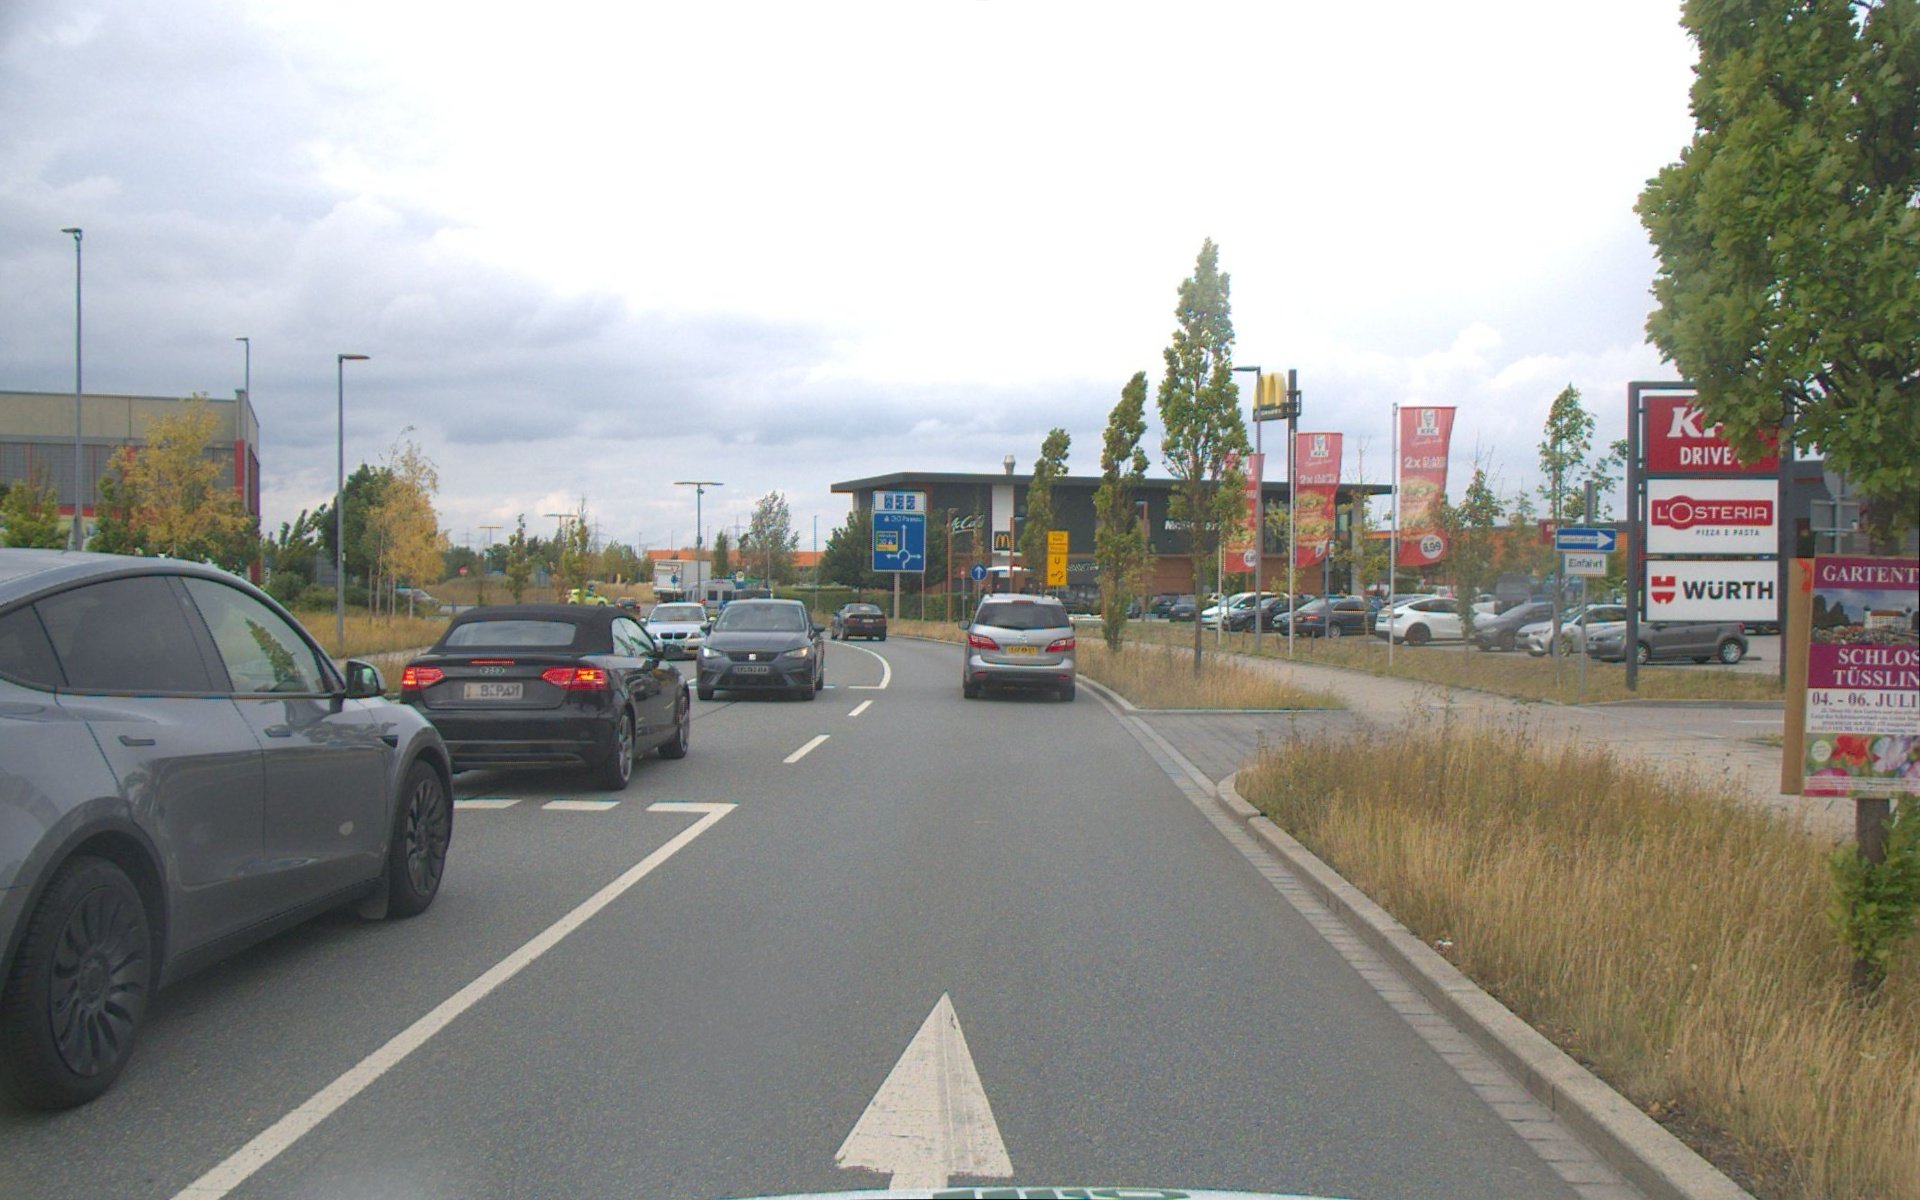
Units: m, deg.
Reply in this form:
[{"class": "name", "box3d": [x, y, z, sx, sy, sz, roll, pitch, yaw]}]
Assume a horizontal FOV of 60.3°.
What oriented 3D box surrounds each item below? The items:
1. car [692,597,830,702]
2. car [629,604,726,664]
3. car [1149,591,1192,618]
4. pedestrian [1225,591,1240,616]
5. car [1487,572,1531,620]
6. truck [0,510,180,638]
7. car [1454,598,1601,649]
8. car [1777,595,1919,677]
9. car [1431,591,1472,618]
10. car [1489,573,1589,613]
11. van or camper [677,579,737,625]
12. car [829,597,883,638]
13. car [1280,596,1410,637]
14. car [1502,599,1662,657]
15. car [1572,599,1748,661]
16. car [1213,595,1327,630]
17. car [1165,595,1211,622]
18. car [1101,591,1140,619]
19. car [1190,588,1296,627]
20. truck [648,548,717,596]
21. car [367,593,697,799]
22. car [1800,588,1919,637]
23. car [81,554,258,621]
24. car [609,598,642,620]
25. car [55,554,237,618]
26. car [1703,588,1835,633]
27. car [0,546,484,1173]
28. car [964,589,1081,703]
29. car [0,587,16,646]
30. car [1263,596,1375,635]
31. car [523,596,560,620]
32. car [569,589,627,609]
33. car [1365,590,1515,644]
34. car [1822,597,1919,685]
[{"class": "car", "box3d": [-2.944, 0.693, 25.250, 1.793, 1.445, 4.243, 0, 0, -3]}, {"class": "car", "box3d": [-7.313, 0.849, 43.183, 1.799, 1.442, 4.499, -1, 0, -1]}, {"class": "car", "box3d": [13.956, 0.305, 109.615, 2.071, 1.747, 4.232, 1, 0, 18]}, {"class": "pedestrian", "box3d": [16.617, 0.214, 100.894, 0.755, 1.464, 0.621, 0, 0, 37]}, {"class": "car", "box3d": [30.655, -0.260, 92.190, 2.226, 2.545, 7.331, 0, 1, 19]}, {"class": "truck", "box3d": [-27.674, -0.742, 49.541, 2.789, 3.603, 8.433, 1, 0, 17]}, {"class": "car", "box3d": [17.716, 0.727, 51.748, 3.911, 1.511, 1.937, -1, 0, -7]}, {"class": "car", "box3d": [18.496, 0.677, 32.244, 4.176, 1.546, 1.965, 0, 0, -1]}, {"class": "car", "box3d": [27.364, 0.212, 92.018, 1.909, 1.469, 4.219, 0, 0, 20]}, {"class": "car", "box3d": [37.595, -0.474, 107.440, 5.911, 2.572, 2.279, 0, 1, 27]}, {"class": "van or camper", "box3d": [-14.545, 0.112, 94.848, 2.270, 2.550, 5.172, 1, 0, -22]}, {"class": "car", "box3d": [-3.924, 0.640, 61.868, 1.809, 1.443, 4.219, 0, 1, -7]}, {"class": "car", "box3d": [14.760, 0.605, 63.476, 4.443, 1.494, 2.024, 0, 1, -16]}, {"class": "car", "box3d": [17.573, 0.771, 46.810, 3.786, 1.507, 1.900, -1, 0, -6]}, {"class": "car", "box3d": [17.733, 0.746, 42.000, 3.683, 1.520, 1.888, 0, 0, -4]}, {"class": "car", "box3d": [13.341, 0.526, 71.253, 4.400, 1.461, 2.063, 0, 1, -19]}, {"class": "car", "box3d": [11.723, 0.406, 84.884, 1.773, 1.336, 3.852, 0, 1, 16]}, {"class": "car", "box3d": [10.483, 0.316, 107.809, 1.951, 1.747, 4.003, 1, 0, 14]}, {"class": "car", "box3d": [12.604, 0.322, 73.653, 4.285, 1.668, 1.925, 0, 1, -22]}, {"class": "truck", "box3d": [-23.644, -2.345, 141.434, 3.066, 3.975, 9.343, 0, 0, 9]}, {"class": "car", "box3d": [-3.399, 0.700, 13.956, 1.733, 1.463, 4.230, 0, 0, -1]}, {"class": "car", "box3d": [30.741, 0.393, 55.533, 4.495, 1.545, 2.069, -1, 1, -20]}, {"class": "car", "box3d": [-32.362, -0.478, 67.957, 6.311, 2.644, 2.231, 0, 0, -20]}, {"class": "car", "box3d": [-24.127, 0.643, 119.080, 1.962, 1.542, 3.980, 0, 0, -17]}, {"class": "car", "box3d": [-30.966, -0.514, 63.150, 5.980, 2.347, 2.197, 0, 0, -21]}, {"class": "car", "box3d": [29.755, 0.377, 60.860, 4.303, 1.545, 2.034, -1, 1, -22]}, {"class": "car", "box3d": [-3.395, 0.638, 6.036, 1.952, 1.588, 4.613, 0, 1, 0]}, {"class": "car", "box3d": [0.942, 0.675, 26.254, 1.694, 1.628, 3.807, 1, 0, 1]}, {"class": "car", "box3d": [-26.005, 0.416, 40.913, 4.151, 1.460, 1.995, 0, 0, -7]}, {"class": "car", "box3d": [14.414, 0.603, 66.430, 4.019, 1.463, 1.934, -1, 1, -18]}, {"class": "car", "box3d": [-30.821, 0.571, 121.768, 1.777, 1.698, 4.291, -3, 1, -25]}, {"class": "car", "box3d": [-28.079, -0.078, 128.452, 3.959, 1.542, 1.973, 0, 0, -38]}, {"class": "car", "box3d": [16.405, 0.549, 56.640, 4.480, 1.673, 2.083, -2, 0, -11]}, {"class": "car", "box3d": [17.909, 0.701, 29.646, 3.904, 1.520, 1.982, 0, 0, 1]}]
